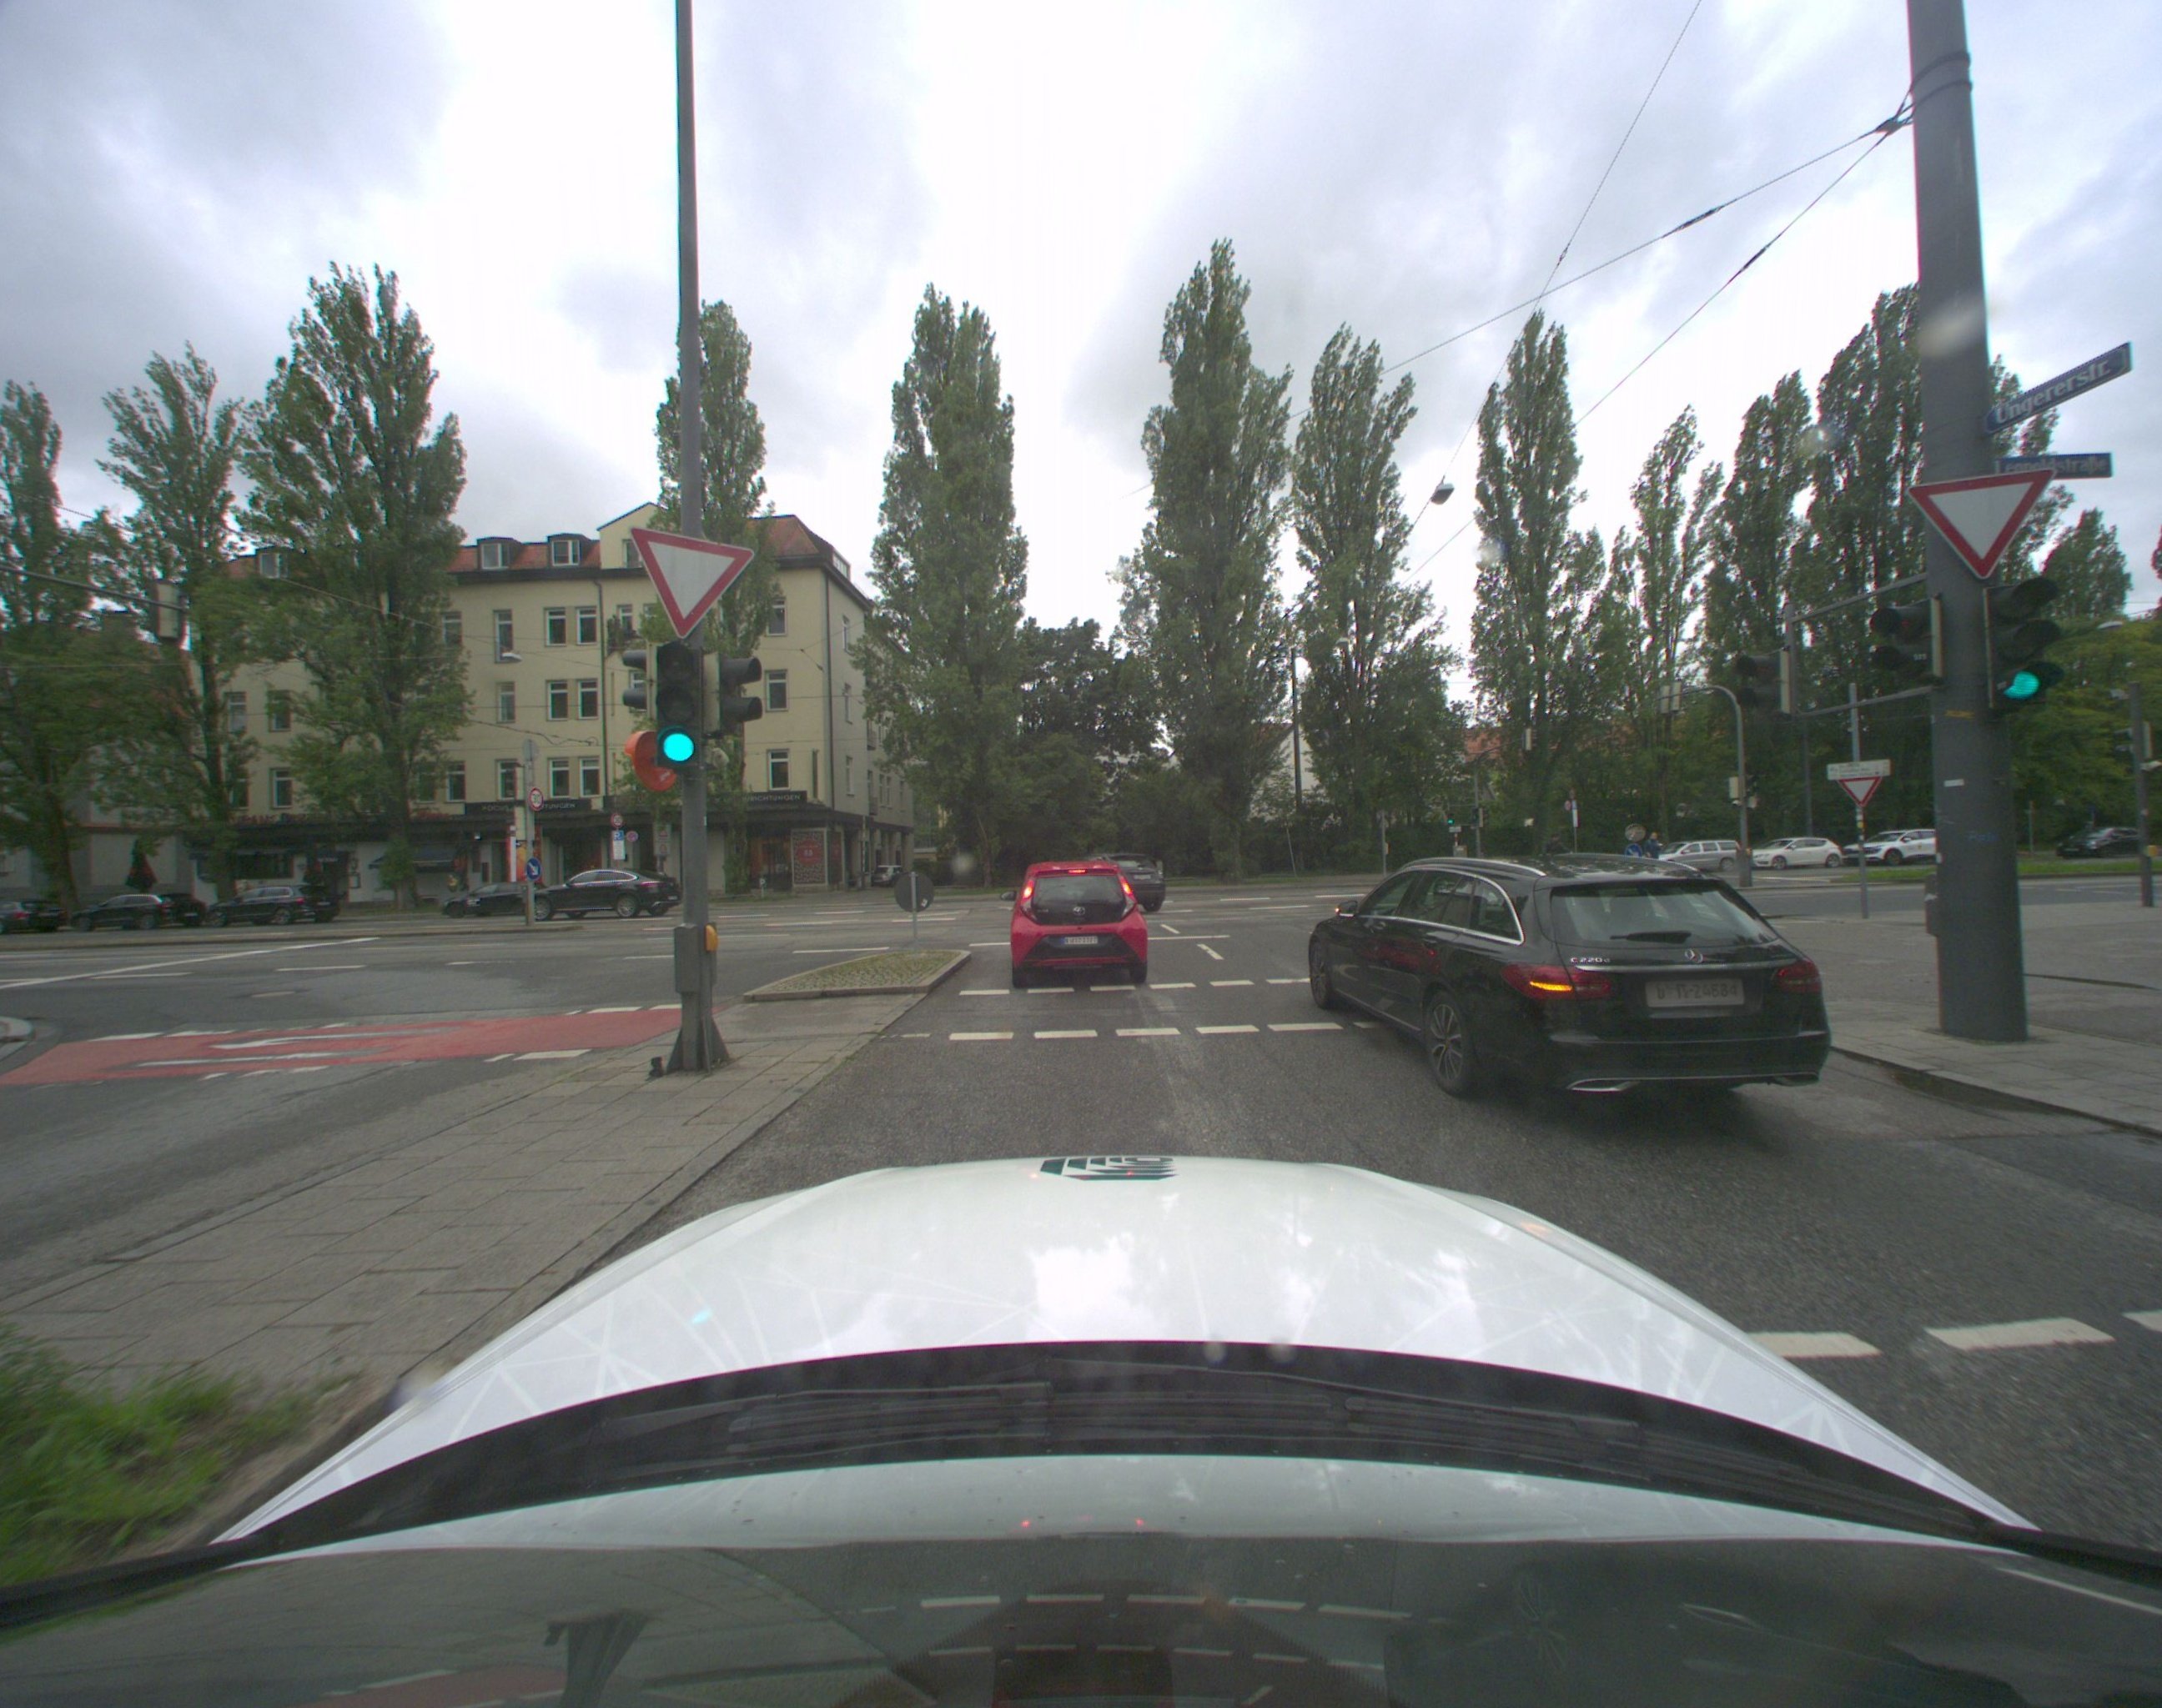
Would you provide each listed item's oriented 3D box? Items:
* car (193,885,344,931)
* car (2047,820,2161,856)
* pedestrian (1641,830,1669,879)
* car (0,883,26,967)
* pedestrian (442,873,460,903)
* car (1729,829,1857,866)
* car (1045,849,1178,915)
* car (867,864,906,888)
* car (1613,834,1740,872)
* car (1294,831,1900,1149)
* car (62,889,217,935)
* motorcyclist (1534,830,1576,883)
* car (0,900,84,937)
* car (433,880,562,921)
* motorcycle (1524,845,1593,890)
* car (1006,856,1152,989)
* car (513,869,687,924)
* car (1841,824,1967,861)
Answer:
[{"bbox_3d":[-33.640,2.209,33.791,4.441,1.612,1.727,-2,0,0],"label":"car"},{"bbox_3d":[48.205,-0.761,38.093,4.117,1.486,1.784,-2,-1,-4],"label":"car"},{"bbox_3d":[19.852,0.011,28.173,0.693,1.662,0.555,-1,-2,41],"label":"pedestrian"},{"bbox_3d":[-24.315,1.534,15.799,4.864,1.683,1.919,-2,0,-3],"label":"car"},{"bbox_3d":[-33.094,1.796,42.774,0.492,1.562,0.575,0,-1,2],"label":"pedestrian"},{"bbox_3d":[32.239,-0.265,36.948,4.232,1.486,1.786,-2,-1,-1],"label":"car"},{"bbox_3d":[0.674,0.709,21.209,1.790,1.486,3.966,-2,-1,-26],"label":"car"},{"bbox_3d":[-12.858,1.405,54.045,1.721,1.442,3.997,-2,0,-2],"label":"car"},{"bbox_3d":[26.524,-0.022,36.360,4.325,1.486,1.786,-2,-1,-1],"label":"car"},{"bbox_3d":[3.138,0.671,6.341,1.856,1.549,4.705,0,0,2],"label":"car"},{"bbox_3d":[-39.094,2.387,33.893,4.276,1.612,1.805,-2,0,0],"label":"car"},{"bbox_3d":[13.168,0.077,22.653,0.617,1.443,0.881,0,-1,-3],"label":"motorcyclist"},{"bbox_3d":[-44.907,2.730,33.990,4.352,1.398,1.805,-2,0,0],"label":"car"},{"bbox_3d":[-24.375,1.912,34.113,3.977,1.466,1.803,-2,-1,-3],"label":"car"},{"bbox_3d":[13.177,0.367,22.543,0.627,1.169,2.027,0,-1,-3],"label":"motorcycle"},{"bbox_3d":[-0.154,0.786,10.968,1.626,1.440,3.370,-2,0,-5],"label":"car"},{"bbox_3d":[-15.516,1.343,26.414,4.544,1.549,1.742,-2,0,1],"label":"car"},{"bbox_3d":[37.538,-0.513,37.200,4.117,1.486,1.784,-2,-1,-4],"label":"car"}]
